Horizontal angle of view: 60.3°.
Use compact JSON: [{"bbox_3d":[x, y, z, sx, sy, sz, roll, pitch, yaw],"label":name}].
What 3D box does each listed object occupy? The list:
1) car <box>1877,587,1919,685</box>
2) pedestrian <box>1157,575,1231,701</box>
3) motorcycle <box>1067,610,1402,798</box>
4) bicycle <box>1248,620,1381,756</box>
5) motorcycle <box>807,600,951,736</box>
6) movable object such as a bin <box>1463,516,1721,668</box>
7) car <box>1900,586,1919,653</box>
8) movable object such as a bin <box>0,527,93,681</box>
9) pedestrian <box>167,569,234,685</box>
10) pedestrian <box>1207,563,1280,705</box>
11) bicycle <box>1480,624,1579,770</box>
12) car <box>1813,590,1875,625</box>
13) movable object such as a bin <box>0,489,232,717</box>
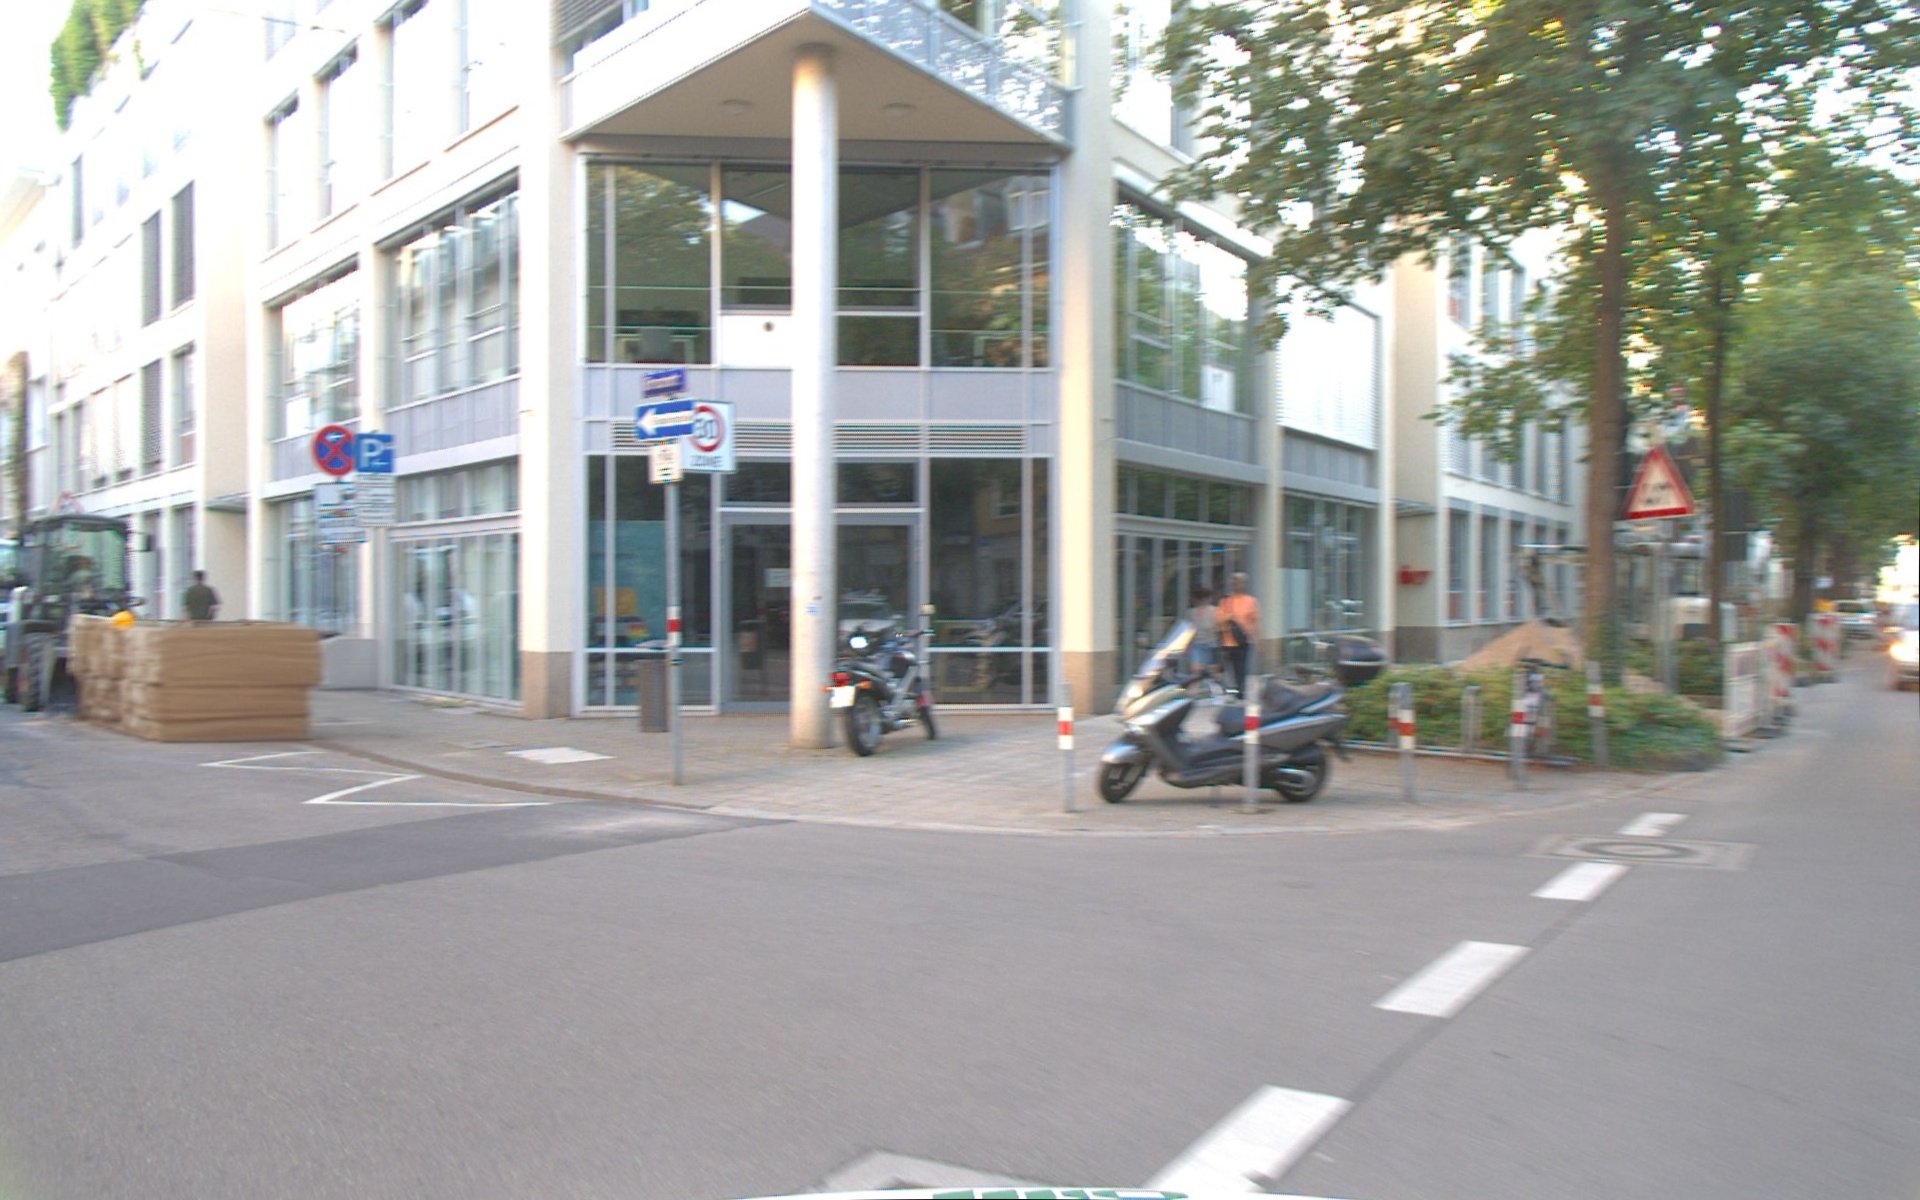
[{"bbox_3d":[17.804,0.599,29.924,1.973,1.641,4.110,0,1,31],"label":"car"},{"bbox_3d":[2.983,0.473,21.052,0.755,1.562,0.641,0,0,30],"label":"pedestrian"},{"bbox_3d":[2.072,0.753,12.663,2.306,1.304,1.065,-1,1,-11],"label":"motorcycle"},{"bbox_3d":[3.460,0.808,16.009,0.670,1.173,1.977,0,1,30],"label":"bicycle"},{"bbox_3d":[-0.745,0.618,16.102,0.544,1.192,2.309,0,1,20],"label":"motorcycle"},{"bbox_3d":[10.890,-0.141,28.484,3.965,2.424,2.783,0,1,24],"label":"movable object such as a bin"},{"bbox_3d":[27.036,0.480,44.860,1.919,1.744,4.679,0,1,39],"label":"car"},{"bbox_3d":[-17.226,0.053,29.621,2.262,2.584,4.040,-1,1,-39],"label":"movable object such as a bin"},{"bbox_3d":[-12.624,0.425,27.489,0.880,1.883,0.865,-1,0,-35],"label":"pedestrian"},{"bbox_3d":[3.523,0.407,20.524,0.725,1.720,0.605,0,0,31],"label":"pedestrian"},{"bbox_3d":[5.194,0.834,15.019,0.669,1.173,1.980,0,1,24],"label":"bicycle"},{"bbox_3d":[35.281,0.270,66.102,1.954,1.310,3.997,0,1,25],"label":"car"},{"bbox_3d":[-12.010,0.005,22.755,2.262,2.739,5.569,-1,1,-39],"label":"movable object such as a bin"}]
